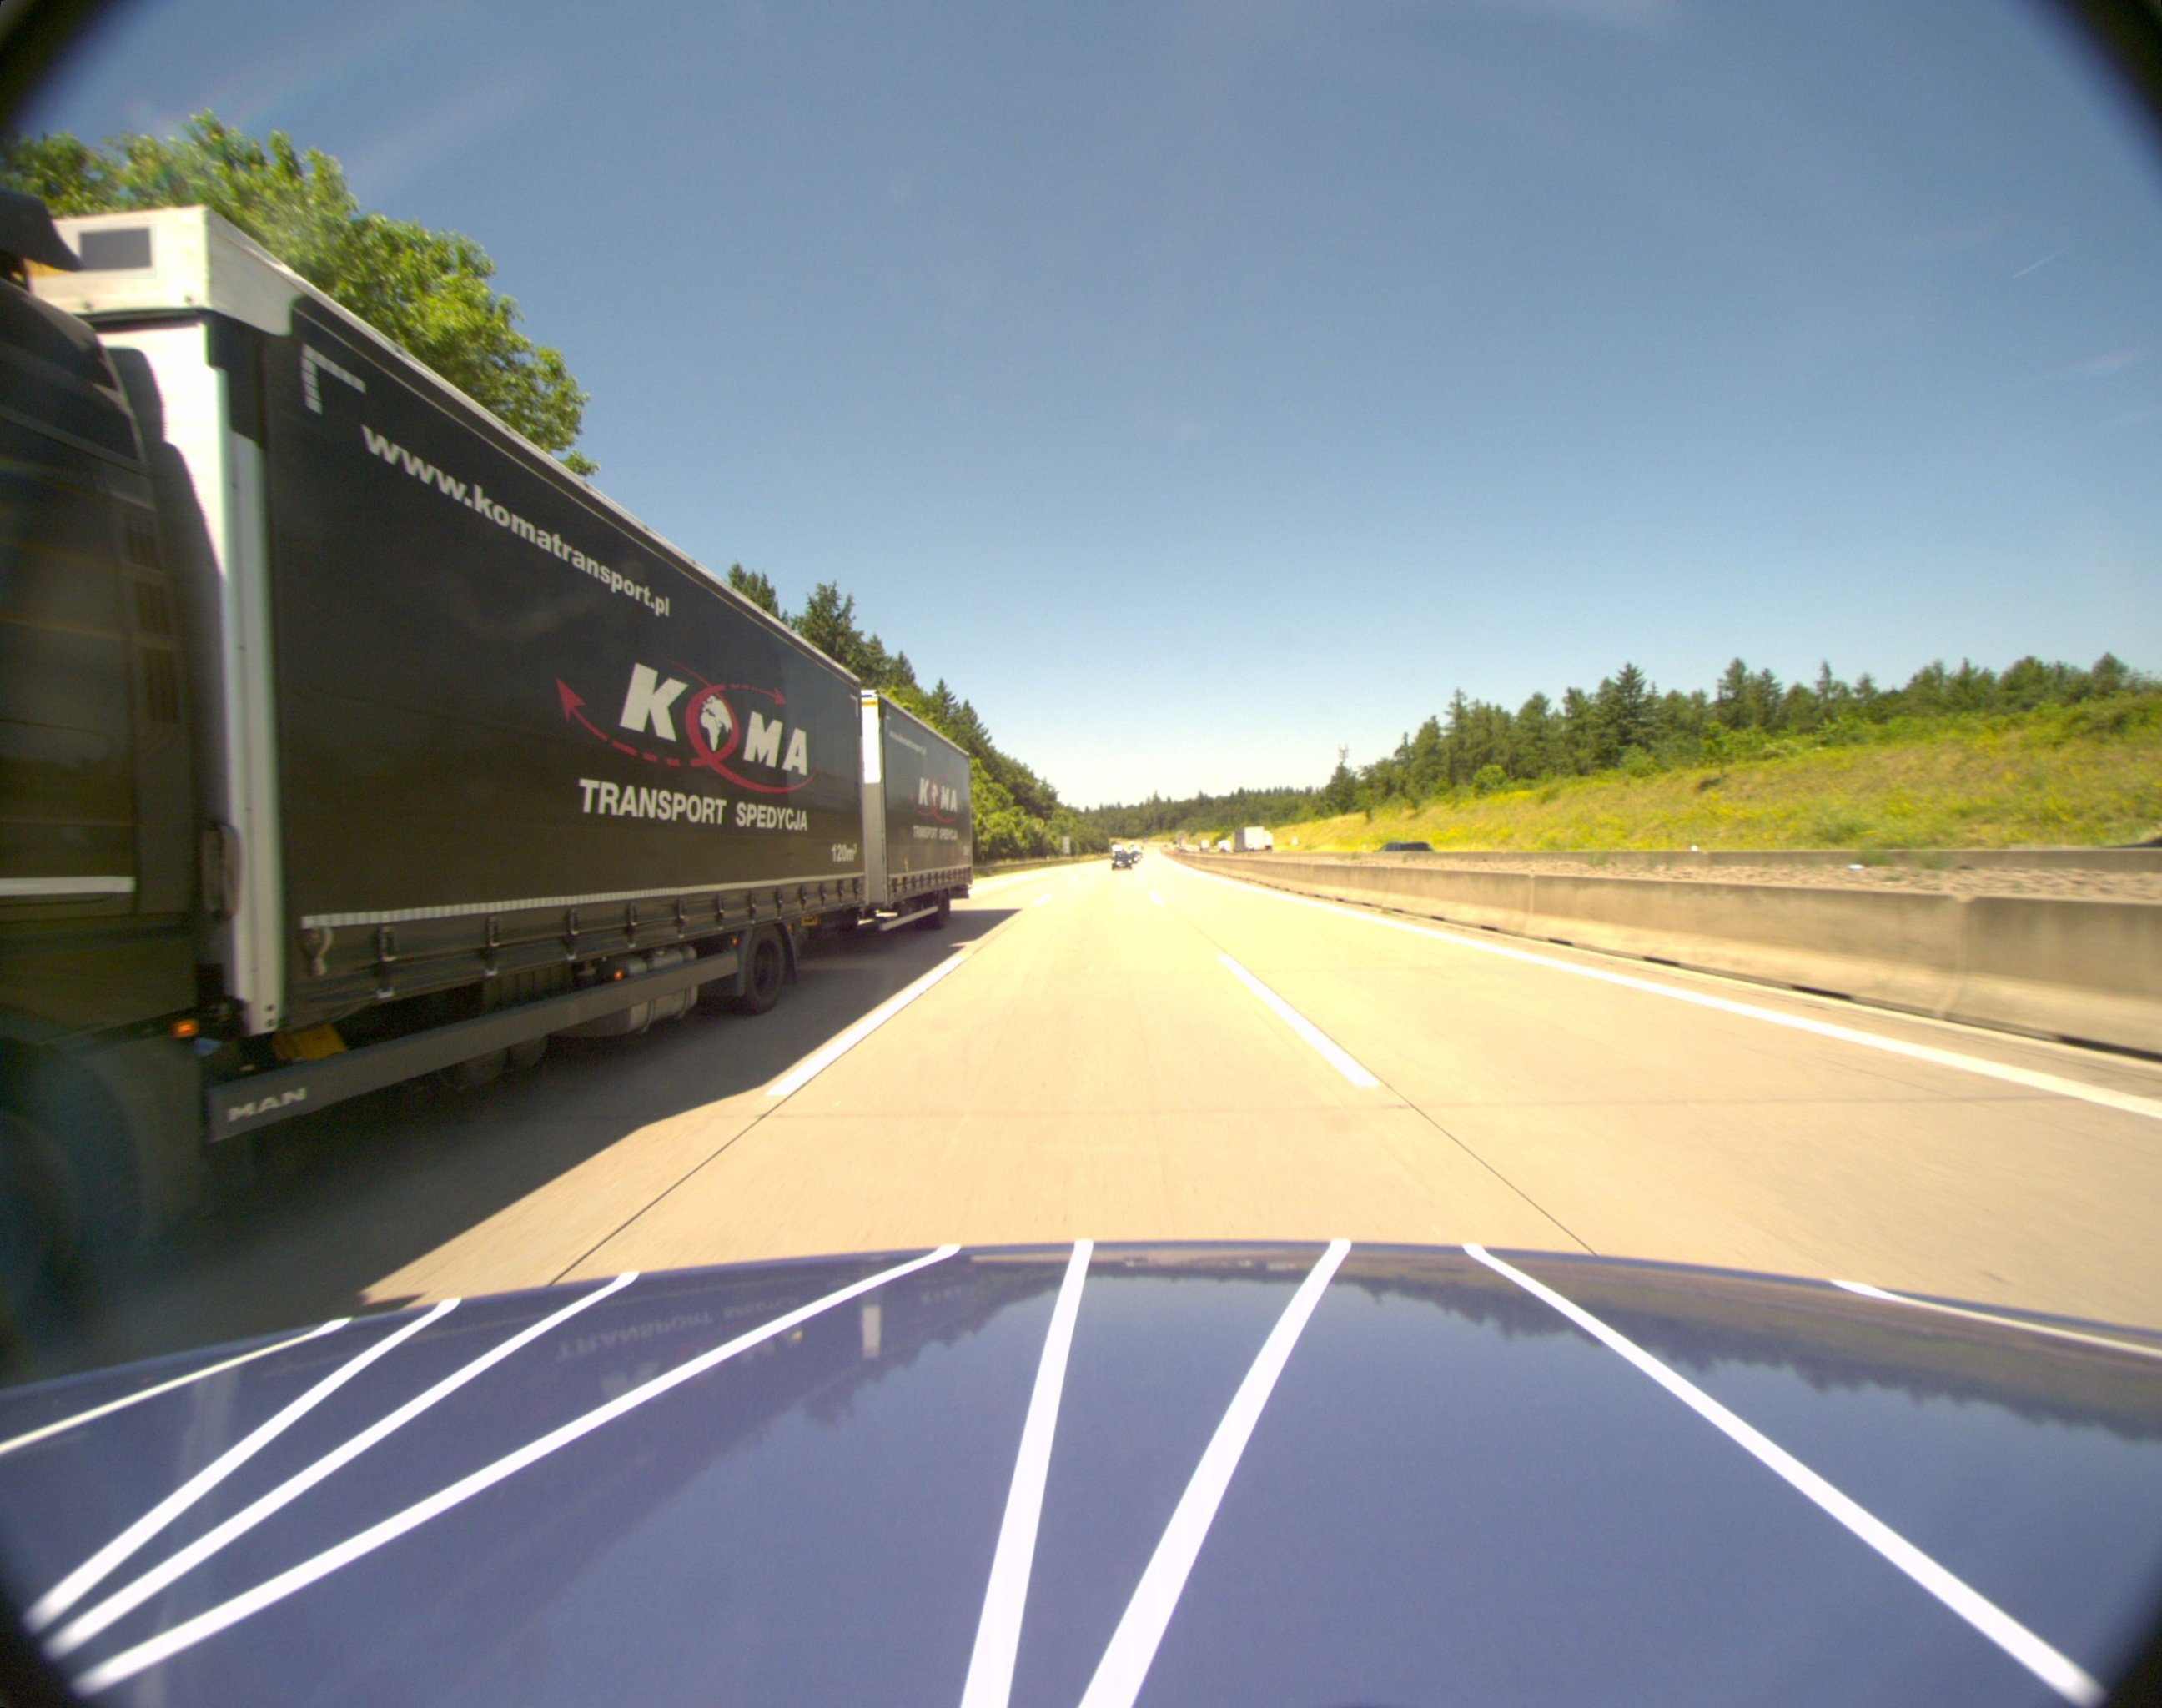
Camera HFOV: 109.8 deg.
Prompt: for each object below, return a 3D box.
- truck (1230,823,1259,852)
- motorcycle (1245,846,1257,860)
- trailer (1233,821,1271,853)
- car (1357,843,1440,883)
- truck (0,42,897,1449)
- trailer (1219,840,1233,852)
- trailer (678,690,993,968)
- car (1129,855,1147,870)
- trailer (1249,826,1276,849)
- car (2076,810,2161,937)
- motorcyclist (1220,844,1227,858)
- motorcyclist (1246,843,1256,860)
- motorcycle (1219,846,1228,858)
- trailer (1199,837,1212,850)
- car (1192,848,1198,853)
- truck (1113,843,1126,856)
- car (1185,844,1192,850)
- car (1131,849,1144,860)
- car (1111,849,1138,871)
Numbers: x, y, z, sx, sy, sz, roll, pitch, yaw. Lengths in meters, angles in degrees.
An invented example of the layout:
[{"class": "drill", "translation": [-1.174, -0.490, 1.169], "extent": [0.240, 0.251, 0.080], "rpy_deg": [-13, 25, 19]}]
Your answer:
[{"class": "truck", "translation": [23.864, -2.358, 111.175], "extent": [3.168, 3.909, 5.838], "rpy_deg": [-4, 1, 5]}, {"class": "motorcycle", "translation": [17.187, -0.064, 76.754], "extent": [0.826, 1.364, 2.358], "rpy_deg": [-2, 0, 4]}, {"class": "trailer", "translation": [23.213, -2.247, 104.080], "extent": [3.168, 3.909, 13.870], "rpy_deg": [-4, 1, 5]}, {"class": "car", "translation": [13.630, 0.348, 32.923], "extent": [1.998, 1.576, 4.000], "rpy_deg": [-2, 0, 2]}, {"class": "truck", "translation": [-4.512, -0.318, 5.744], "extent": [3.167, 3.993, 10.608], "rpy_deg": [-2, 0, 2]}, {"class": "trailer", "translation": [35.846, -1.977, 187.575], "extent": [2.611, 2.616, 7.784], "rpy_deg": [-3, 0, 6]}, {"class": "trailer", "translation": [-4.156, -0.385, 15.733], "extent": [3.142, 3.993, 9.088], "rpy_deg": [-2, 0, 2]}, {"class": "car", "translation": [7.283, 1.056, 97.021], "extent": [1.997, 1.694, 4.401], "rpy_deg": [-4, 1, 7]}, {"class": "trailer", "translation": [28.720, -2.585, 120.406], "extent": [2.731, 3.393, 8.957], "rpy_deg": [-4, 1, 5]}, {"class": "car", "translation": [16.098, 0.255, 9.601], "extent": [1.825, 1.786, 4.000], "rpy_deg": [-2, 0, 1]}, {"class": "motorcyclist", "translation": [19.595, -0.450, 104.567], "extent": [0.820, 1.863, 1.492], "rpy_deg": [-2, 1, 4]}, {"class": "motorcyclist", "translation": [17.145, -0.238, 76.573], "extent": [0.694, 1.699, 1.525], "rpy_deg": [-2, 1, 4]}, {"class": "motorcycle", "translation": [19.589, -0.287, 104.447], "extent": [1.010, 1.540, 2.484], "rpy_deg": [-2, 0, 4]}, {"class": "trailer", "translation": [43.534, -3.725, 266.225], "extent": [3.394, 4.405, 13.928], "rpy_deg": [-4, 1, 6]}, {"class": "car", "translation": [38.872, -1.070, 259.309], "extent": [1.998, 1.549, 4.500], "rpy_deg": [-3, 0, 6]}, {"class": "truck", "translation": [8.948, -1.125, 177.284], "extent": [2.482, 2.779, 5.917], "rpy_deg": [-4, 1, 7]}, {"class": "car", "translation": [33.329, -2.141, 235.557], "extent": [1.998, 1.510, 4.001], "rpy_deg": [-3, 0, 6]}, {"class": "car", "translation": [9.591, 0.007, 128.968], "extent": [1.998, 1.694, 4.400], "rpy_deg": [-4, 1, 4]}, {"class": "car", "translation": [3.852, 0.485, 66.819], "extent": [1.930, 1.694, 4.401], "rpy_deg": [-4, 1, 7]}]
